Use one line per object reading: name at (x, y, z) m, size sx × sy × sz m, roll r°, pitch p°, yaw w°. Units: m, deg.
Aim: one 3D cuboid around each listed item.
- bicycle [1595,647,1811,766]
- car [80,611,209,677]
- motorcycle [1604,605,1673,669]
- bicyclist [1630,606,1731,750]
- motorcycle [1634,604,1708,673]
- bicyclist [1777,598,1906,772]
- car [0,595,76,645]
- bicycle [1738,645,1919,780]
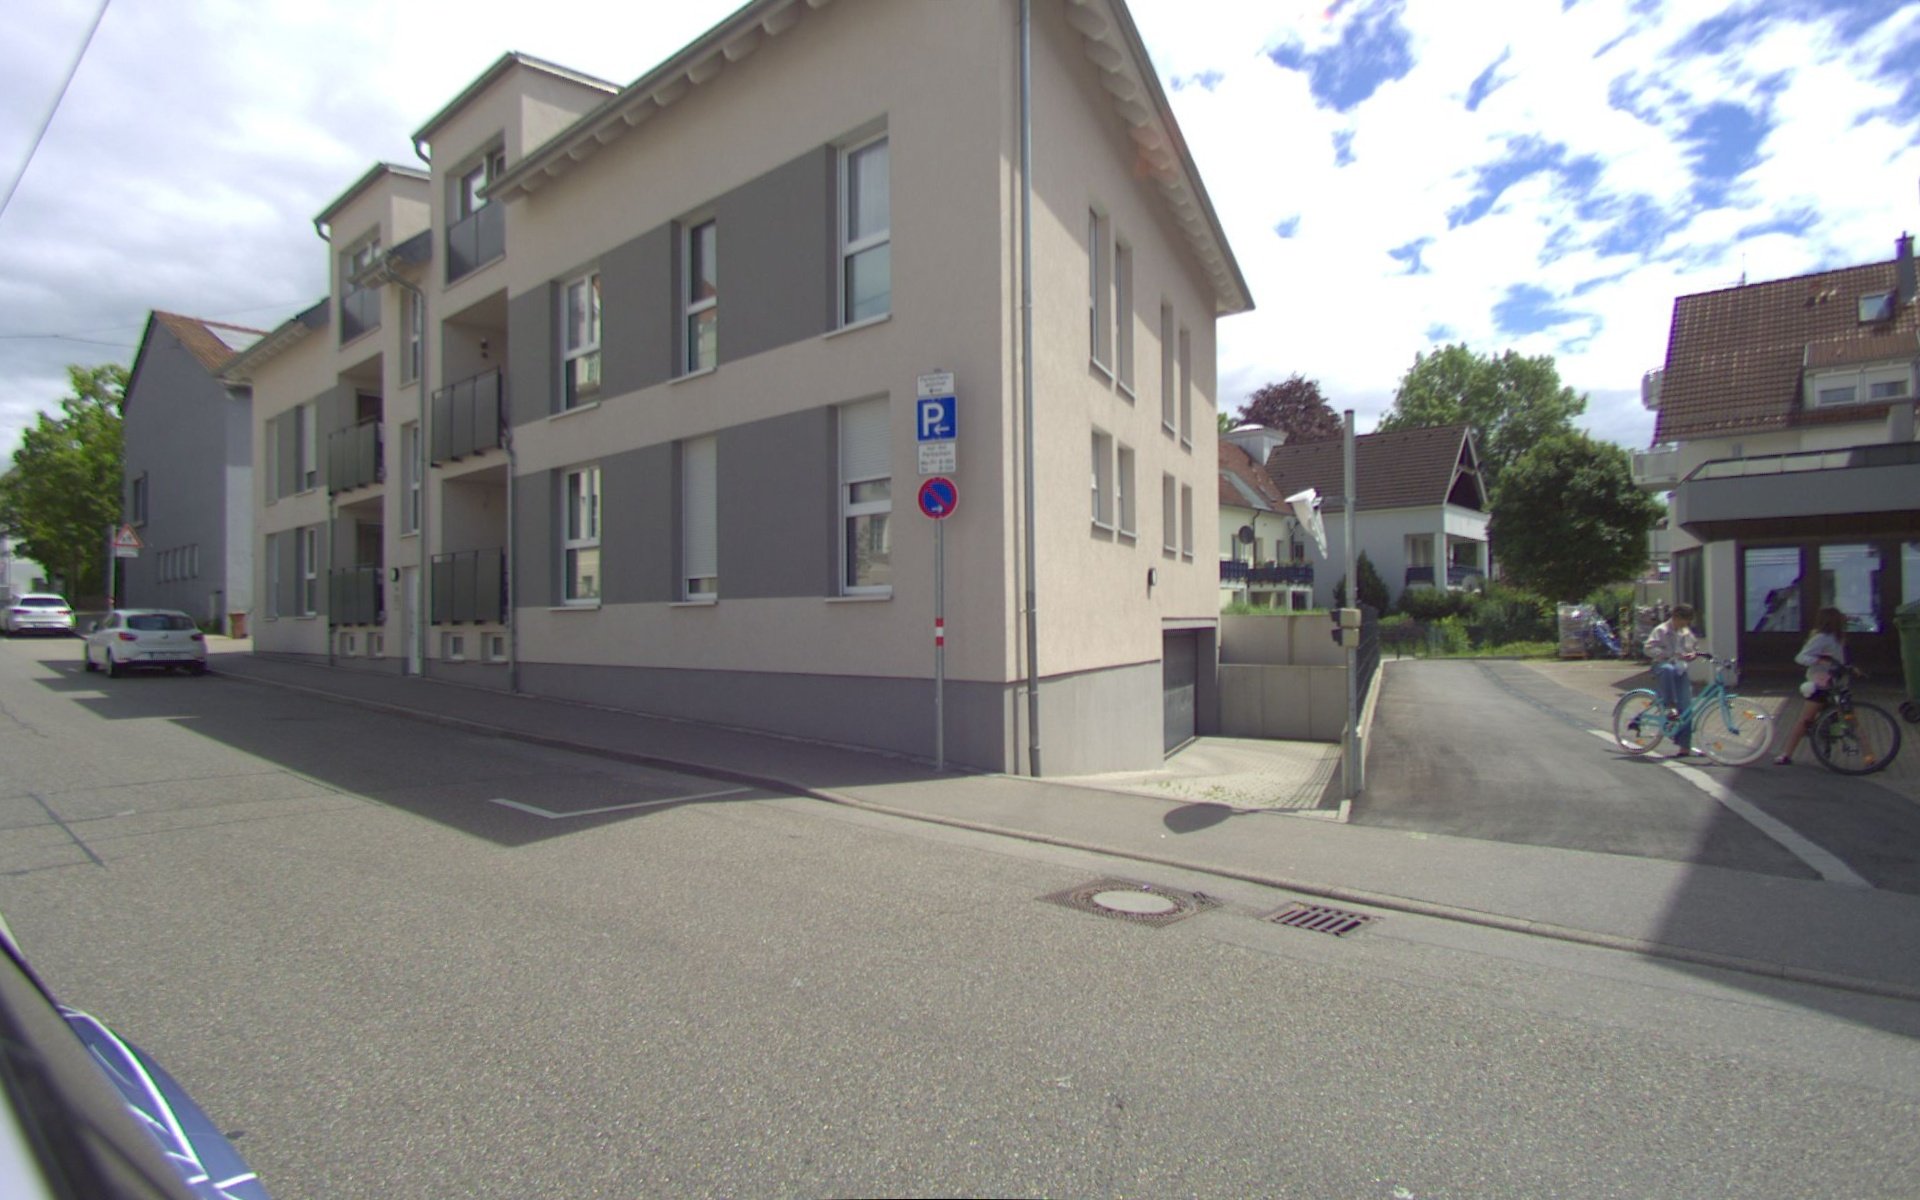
bicycle at (6.527, 0.898, 8.996) m, size 0.451 × 0.924 × 1.593 m, roll -1°, pitch -2°, yaw -14°
car at (-17.919, 0.932, 22.200) m, size 3.472 × 1.340 × 1.644 m, roll -2°, pitch -2°, yaw 42°
motorcycle at (17.437, 0.909, 25.970) m, size 0.860 × 1.530 × 3.567 m, roll -1°, pitch -2°, yaw 44°
bicyclist at (6.472, 0.681, 9.101) m, size 0.631 × 1.251 × 0.428 m, roll 0°, pitch 0°, yaw -16°
motorcycle at (16.893, 0.878, 23.985) m, size 0.860 × 1.530 × 3.748 m, roll -1°, pitch -2°, yaw 44°
bicyclist at (7.241, 0.692, 8.335) m, size 0.583 × 1.376 × 0.423 m, roll -3°, pitch -3°, yaw 13°
car at (-31.392, 0.647, 34.224) m, size 4.066 × 1.499 × 1.714 m, roll 2°, pitch 0°, yaw 42°
bicycle at (7.258, 0.880, 8.402) m, size 0.549 × 0.961 × 1.685 m, roll -2°, pitch -2°, yaw 12°
